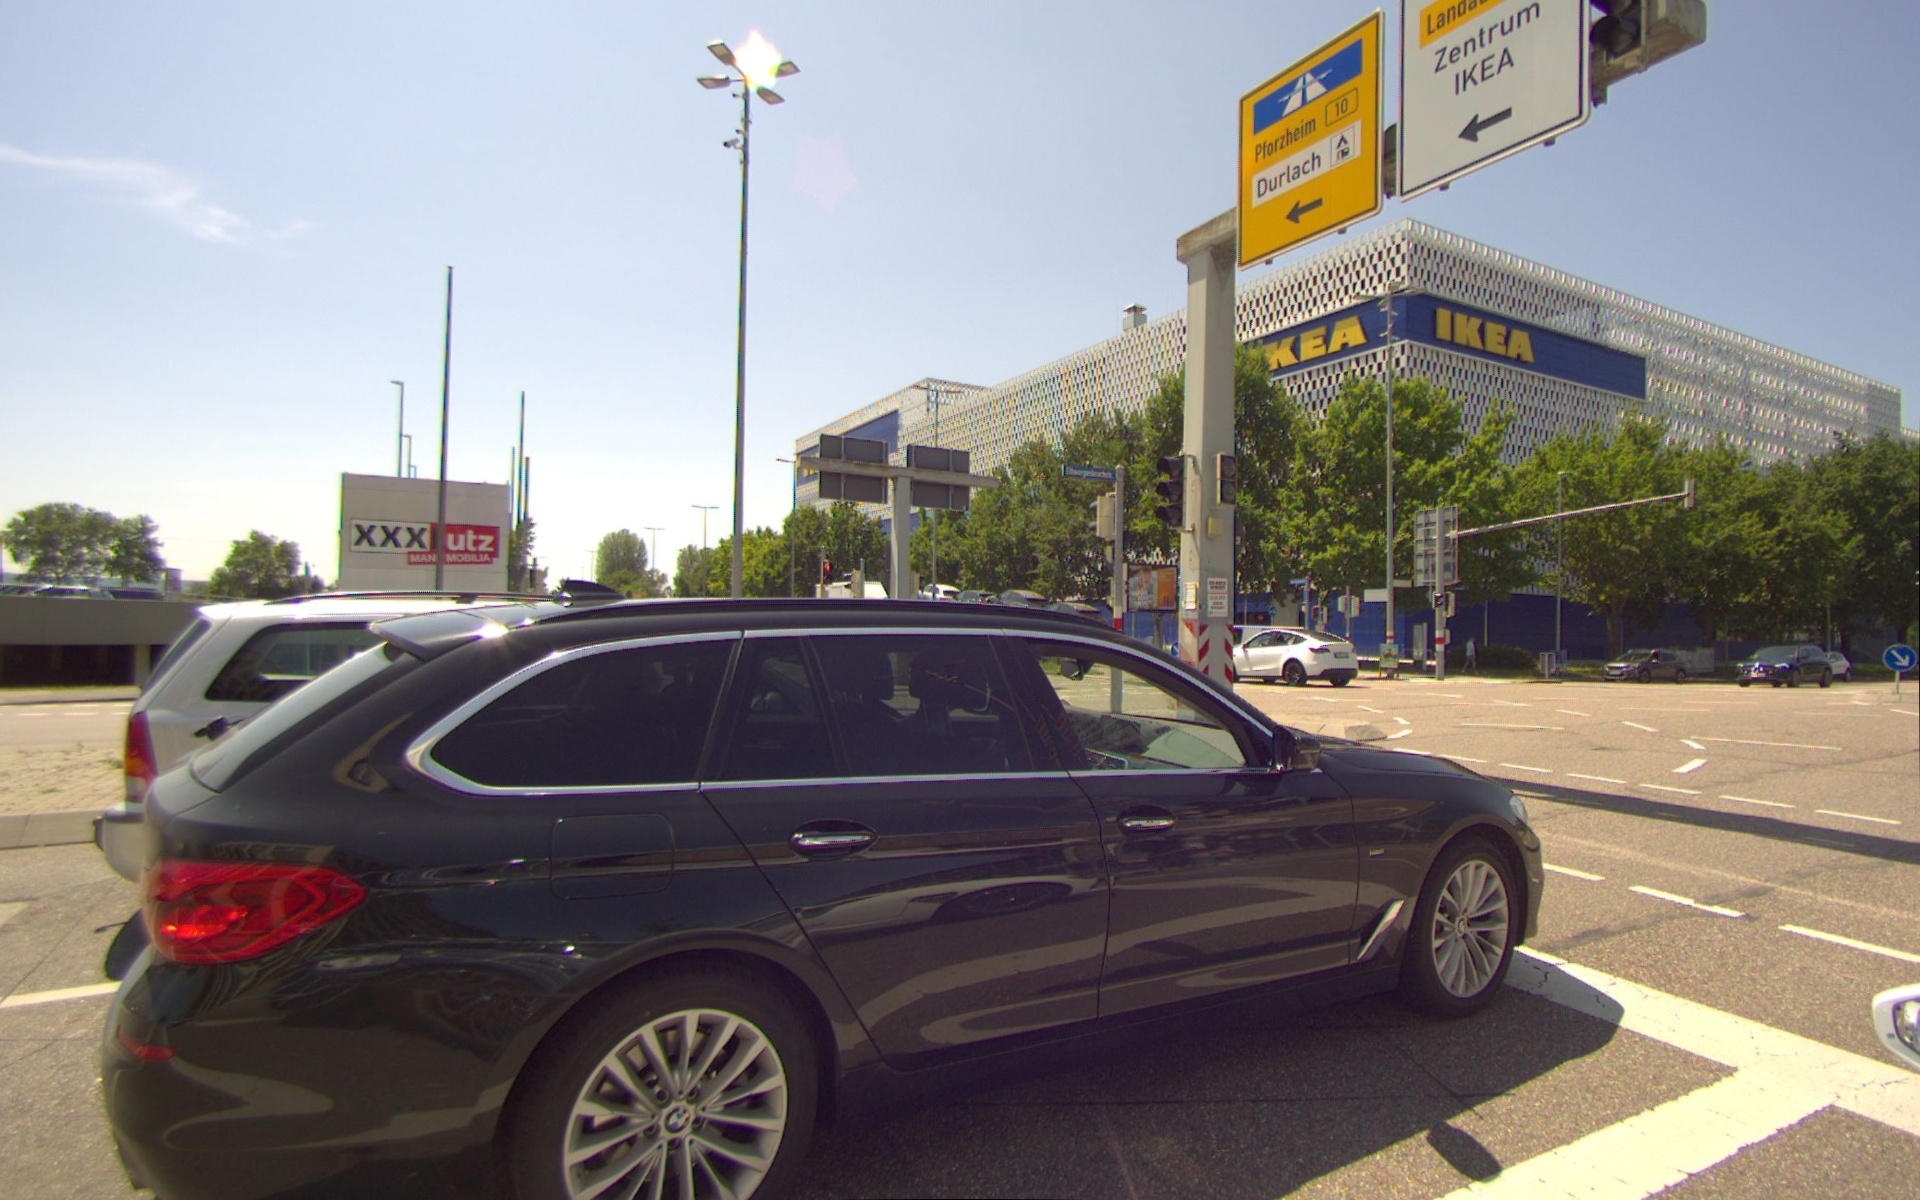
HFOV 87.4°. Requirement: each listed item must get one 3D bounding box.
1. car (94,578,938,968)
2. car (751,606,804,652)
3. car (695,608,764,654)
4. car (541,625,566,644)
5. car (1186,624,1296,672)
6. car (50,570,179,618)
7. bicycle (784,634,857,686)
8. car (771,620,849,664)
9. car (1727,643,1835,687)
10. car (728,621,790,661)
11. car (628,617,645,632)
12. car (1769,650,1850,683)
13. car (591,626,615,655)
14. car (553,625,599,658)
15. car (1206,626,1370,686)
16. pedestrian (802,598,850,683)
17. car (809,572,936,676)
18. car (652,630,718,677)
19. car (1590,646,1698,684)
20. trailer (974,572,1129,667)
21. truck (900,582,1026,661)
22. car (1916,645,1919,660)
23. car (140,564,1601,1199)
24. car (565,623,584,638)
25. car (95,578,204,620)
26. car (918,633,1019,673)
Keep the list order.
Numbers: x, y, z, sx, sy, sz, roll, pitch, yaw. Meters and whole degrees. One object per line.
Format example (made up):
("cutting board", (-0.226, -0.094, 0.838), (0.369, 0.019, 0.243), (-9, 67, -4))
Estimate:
("car", (-2.262, 0.727, 5.810), (3.961, 1.514, 1.785), (2, -1, -36))
("car", (-11.199, 1.757, 61.435), (2.032, 2.665, 4.652), (0, -2, -26))
("car", (-13.867, 1.865, 60.019), (2.542, 2.568, 6.587), (2, -2, -26))
("car", (-36.436, 3.095, 89.966), (1.718, 1.708, 3.642), (2, -2, -28))
("car", (12.755, 2.166, 45.559), (4.669, 2.034, 2.001), (0, -2, 18))
("car", (-36.910, -0.219, 43.988), (3.953, 1.957, 1.984), (2, -2, -30))
("bicycle", (-3.501, 1.480, 25.081), (0.987, 1.229, 2.079), (2, -2, -35))
("car", (-6.799, 1.857, 45.005), (1.973, 1.835, 5.438), (1, -2, -25))
("car", (32.242, 2.554, 39.413), (4.444, 1.619, 1.866), (2, -3, -30))
("car", (-10.640, 2.144, 52.977), (1.975, 2.040, 4.681), (2, -2, -27))
("car", (-46.486, 3.557, 144.174), (1.971, 2.040, 3.979), (2, -2, -22))
("car", (44.877, 3.507, 53.067), (4.037, 1.687, 1.920), (2, -3, -28))
("car", (-25.633, 2.888, 72.136), (1.594, 2.040, 3.863), (1, -2, -20))
("car", (-24.006, 2.578, 62.753), (1.815, 2.040, 3.963), (2, -2, -34))
("car", (9.518, 1.618, 29.594), (1.972, 1.609, 4.669), (0, -3, -24))
("pedestrian", (-3.321, 0.994, 24.870), (0.856, 2.040, 0.899), (1, -2, -35))
("car", (-3.428, 0.887, 37.545), (2.156, 3.532, 6.875), (0, -1, -28))
("car", (-9.587, 1.812, 34.839), (1.904, 1.528, 3.982), (1, -2, -20))
("car", (30.786, 2.930, 45.259), (3.682, 1.553, 1.776), (2, -2, -3))
("trailer", (4.154, 1.036, 48.673), (3.053, 4.135, 9.585), (2, -2, -25))
("truck", (-0.062, 1.318, 57.844), (3.058, 4.136, 10.588), (2, -2, -25))
("car", (118.002, 6.418, 121.690), (3.977, 1.835, 1.986), (1, 1, -27))
("car", (0.160, 0.735, 3.612), (4.570, 1.485, 1.791), (1, -1, -31))
("car", (-54.639, 4.337, 142.375), (1.906, 2.040, 3.971), (2, -2, -28))
("car", (-40.448, -0.029, 50.277), (3.956, 1.933, 1.983), (2, -2, -32))
("car", (0.233, 1.891, 36.653), (1.756, 1.360, 4.262), (1, -2, -30))
